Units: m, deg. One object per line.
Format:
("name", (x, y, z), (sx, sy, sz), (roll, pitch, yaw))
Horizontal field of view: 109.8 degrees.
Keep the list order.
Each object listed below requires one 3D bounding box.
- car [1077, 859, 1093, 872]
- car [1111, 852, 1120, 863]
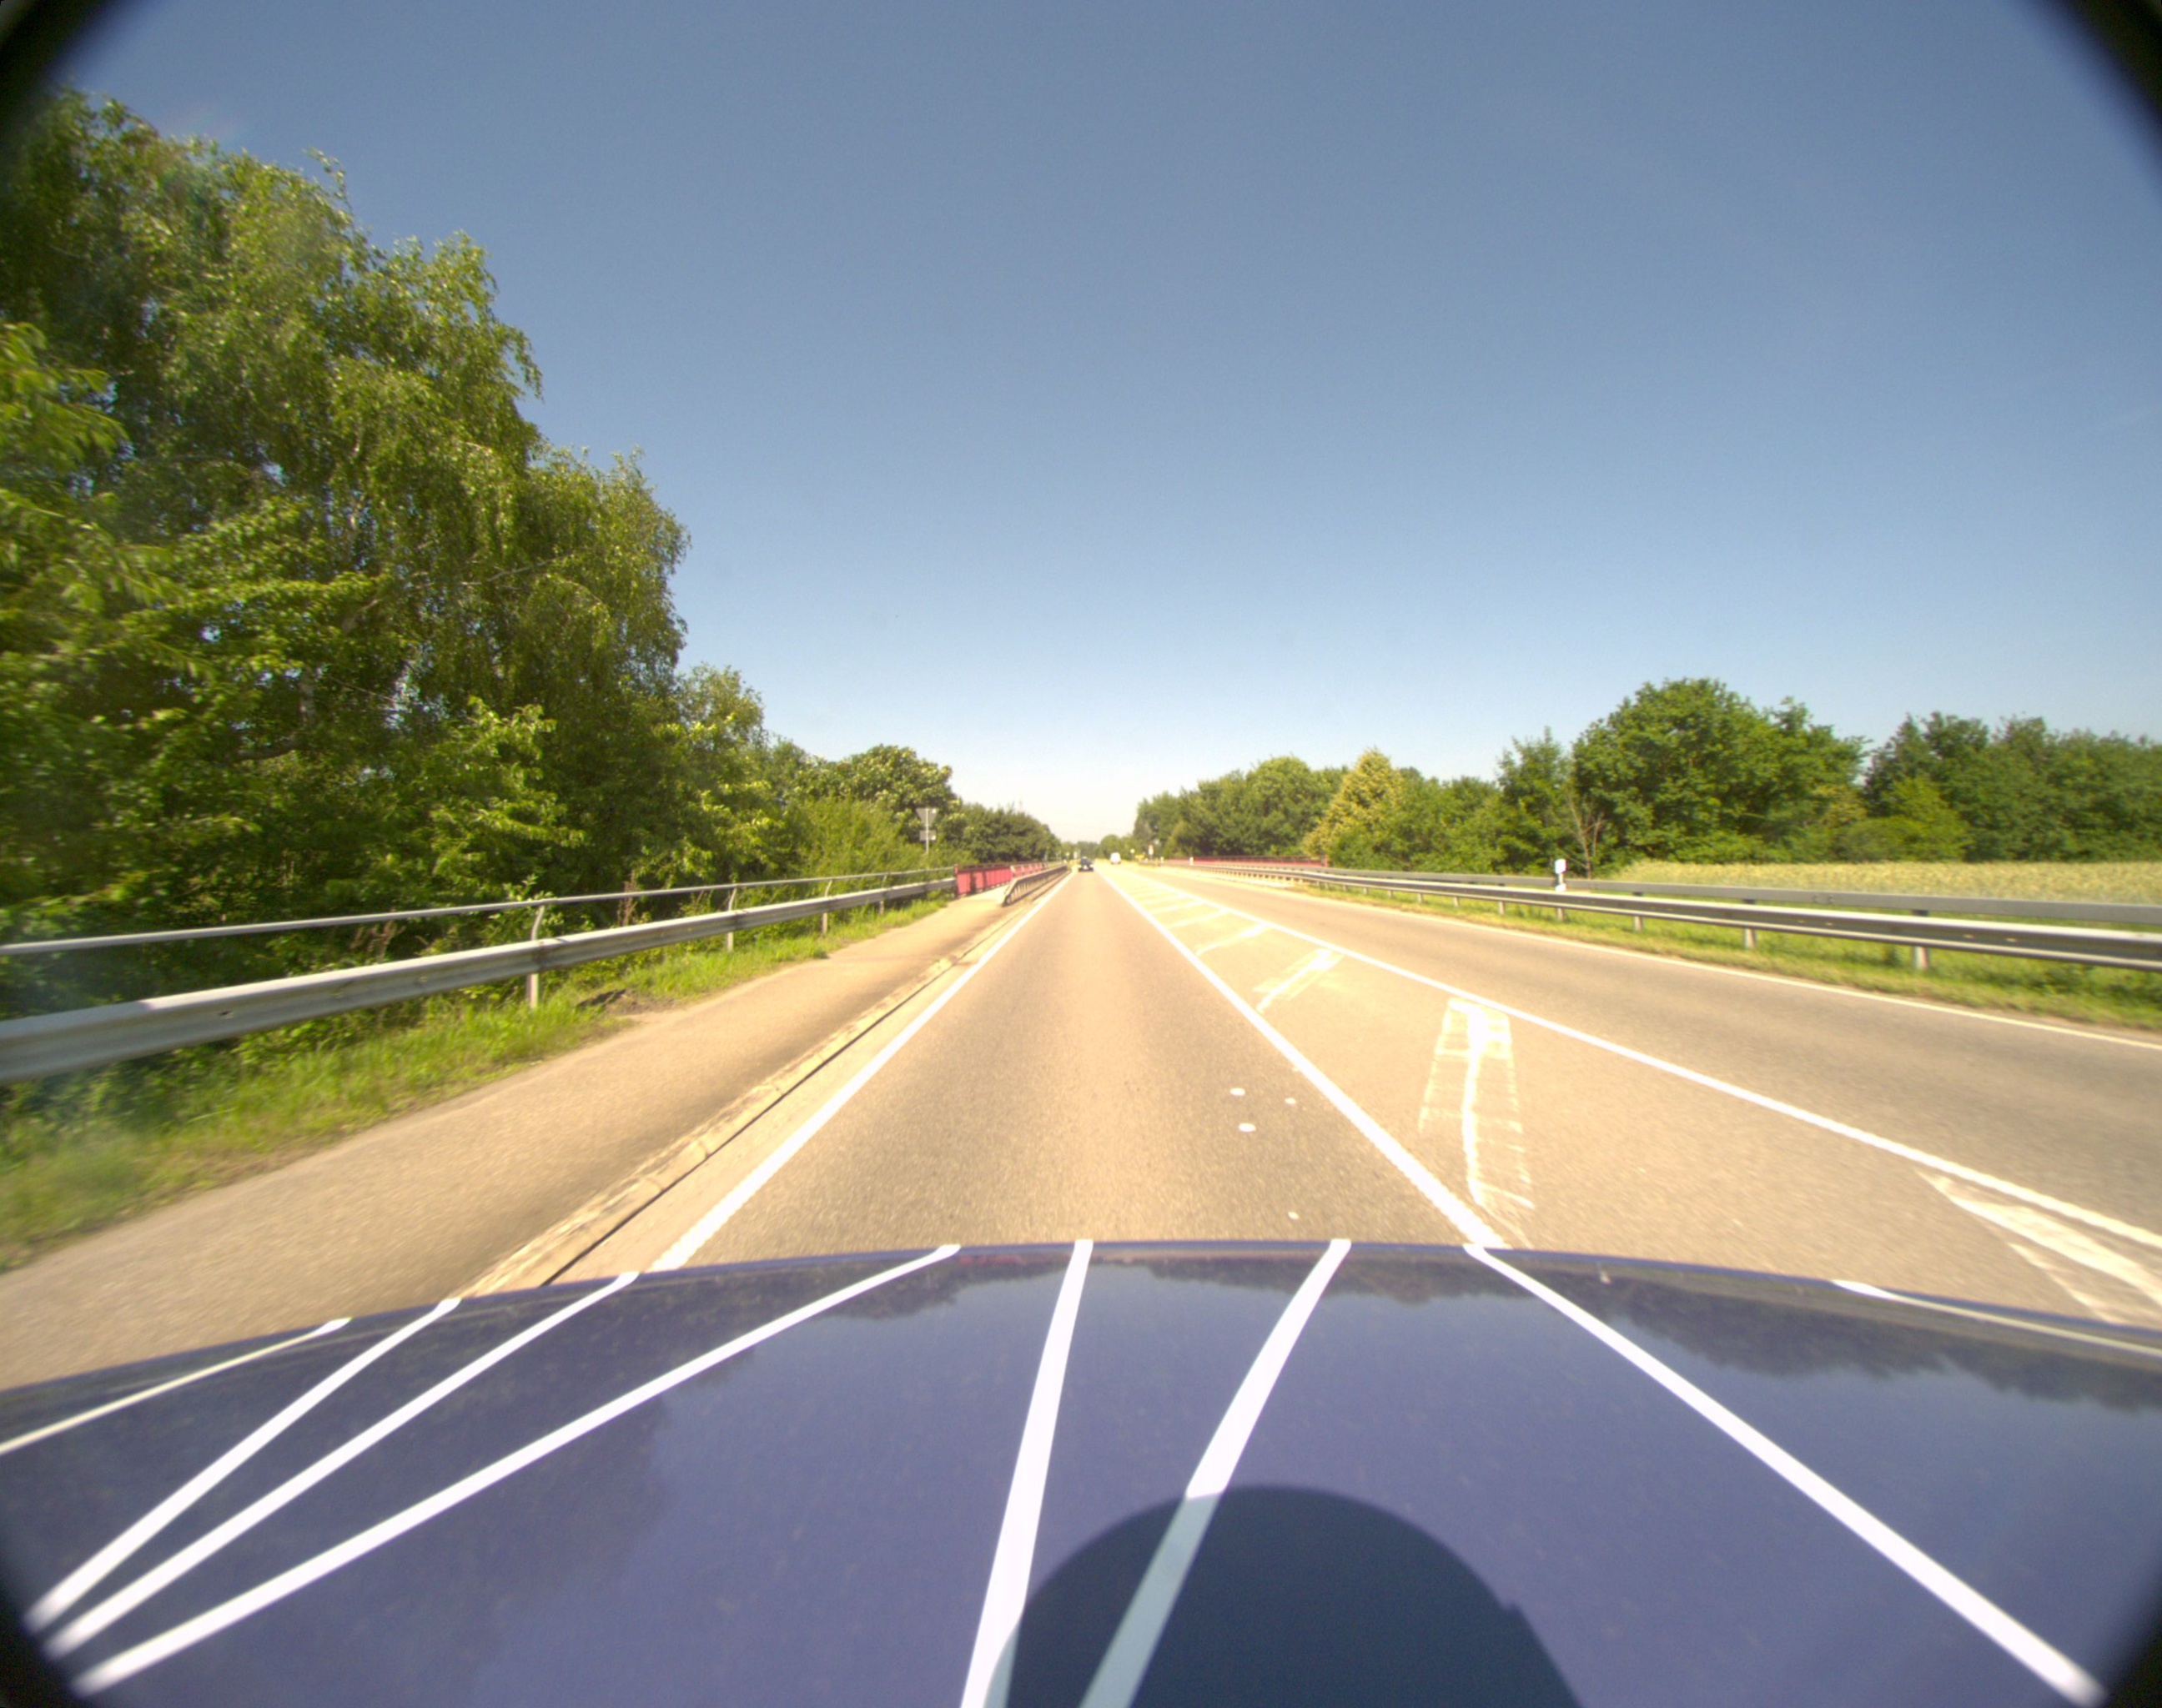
("car", (0.512, 1.329, 89.425), (1.806, 1.390, 4.180), (-2, 0, 1))
("car", (7.492, 0.784, 165.086), (1.895, 2.214, 7.232), (-2, 0, 2))
